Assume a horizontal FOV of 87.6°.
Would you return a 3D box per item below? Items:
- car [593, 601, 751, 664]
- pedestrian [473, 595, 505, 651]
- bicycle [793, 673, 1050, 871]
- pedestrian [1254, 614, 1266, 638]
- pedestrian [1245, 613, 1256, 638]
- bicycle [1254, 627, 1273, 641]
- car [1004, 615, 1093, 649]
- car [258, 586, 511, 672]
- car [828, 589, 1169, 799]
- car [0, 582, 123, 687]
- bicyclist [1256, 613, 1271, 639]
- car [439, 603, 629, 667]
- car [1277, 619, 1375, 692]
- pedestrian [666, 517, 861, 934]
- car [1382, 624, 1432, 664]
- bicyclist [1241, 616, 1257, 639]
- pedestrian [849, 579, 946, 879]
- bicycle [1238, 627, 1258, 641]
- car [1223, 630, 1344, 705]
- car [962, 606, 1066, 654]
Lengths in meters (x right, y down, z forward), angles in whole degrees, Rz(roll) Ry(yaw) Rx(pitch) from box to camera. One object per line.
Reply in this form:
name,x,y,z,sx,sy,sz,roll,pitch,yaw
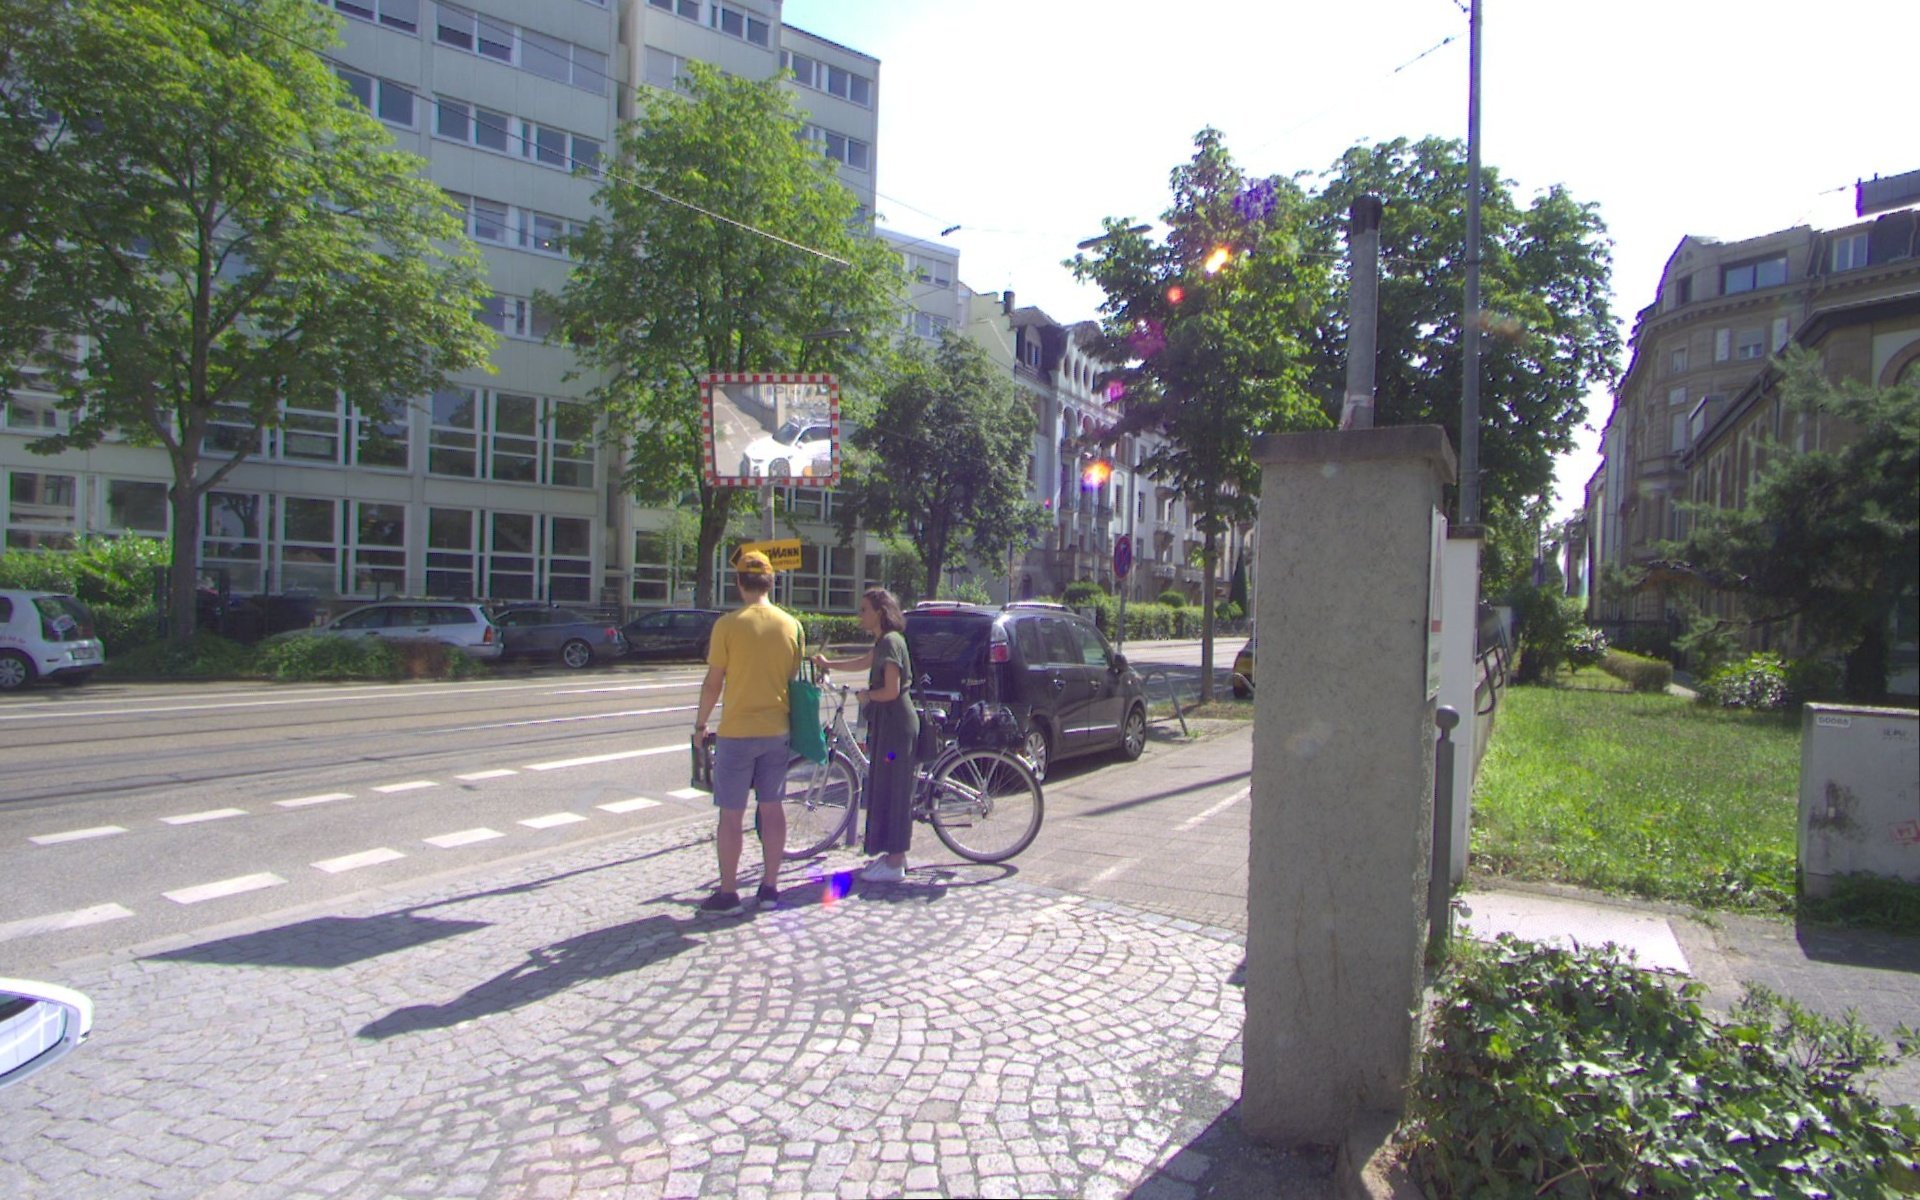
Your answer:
car,-7.557,0.852,26.446,3.875,1.505,1.556,2,0,-16
pedestrian,-12.699,0.611,26.996,0.417,1.480,0.620,2,0,27
bicycle,-0.229,1.010,6.063,1.484,1.055,0.363,2,0,12
pedestrian,24.319,2.095,81.162,0.680,1.958,0.785,2,0,28
pedestrian,23.655,2.079,81.487,0.680,1.958,0.785,2,0,28
bicycle,21.266,2.374,70.171,0.670,0.929,2.309,2,0,32
car,4.329,1.549,49.197,3.929,1.528,1.997,2,-1,-16
car,-11.733,0.624,20.741,4.270,1.625,1.555,2,-1,-19
car,0.609,0.824,10.408,1.829,1.706,3.981,1,-1,31
car,-15.157,0.480,14.848,3.874,1.505,1.610,1,0,-15
bicyclist,21.214,1.808,69.955,0.793,1.825,0.860,2,0,33
car,-9.870,0.817,23.473,3.875,1.375,1.556,2,0,-16
car,9.718,1.403,26.415,1.828,1.702,3.984,1,-1,28
pedestrian,-0.997,0.583,5.035,0.838,1.889,0.828,2,0,-14
car,20.844,2.008,46.619,1.828,1.702,3.984,1,-1,28
bicyclist,20.342,1.951,70.456,0.793,1.563,0.860,2,0,33
pedestrian,-0.353,0.715,5.742,0.445,1.642,0.422,-1,-1,12
bicycle,20.286,2.391,70.520,0.670,0.929,2.309,2,0,32
car,7.199,1.398,22.042,1.828,1.430,3.984,1,-1,28
car,2.287,1.270,42.537,3.935,1.884,1.993,2,0,-23
